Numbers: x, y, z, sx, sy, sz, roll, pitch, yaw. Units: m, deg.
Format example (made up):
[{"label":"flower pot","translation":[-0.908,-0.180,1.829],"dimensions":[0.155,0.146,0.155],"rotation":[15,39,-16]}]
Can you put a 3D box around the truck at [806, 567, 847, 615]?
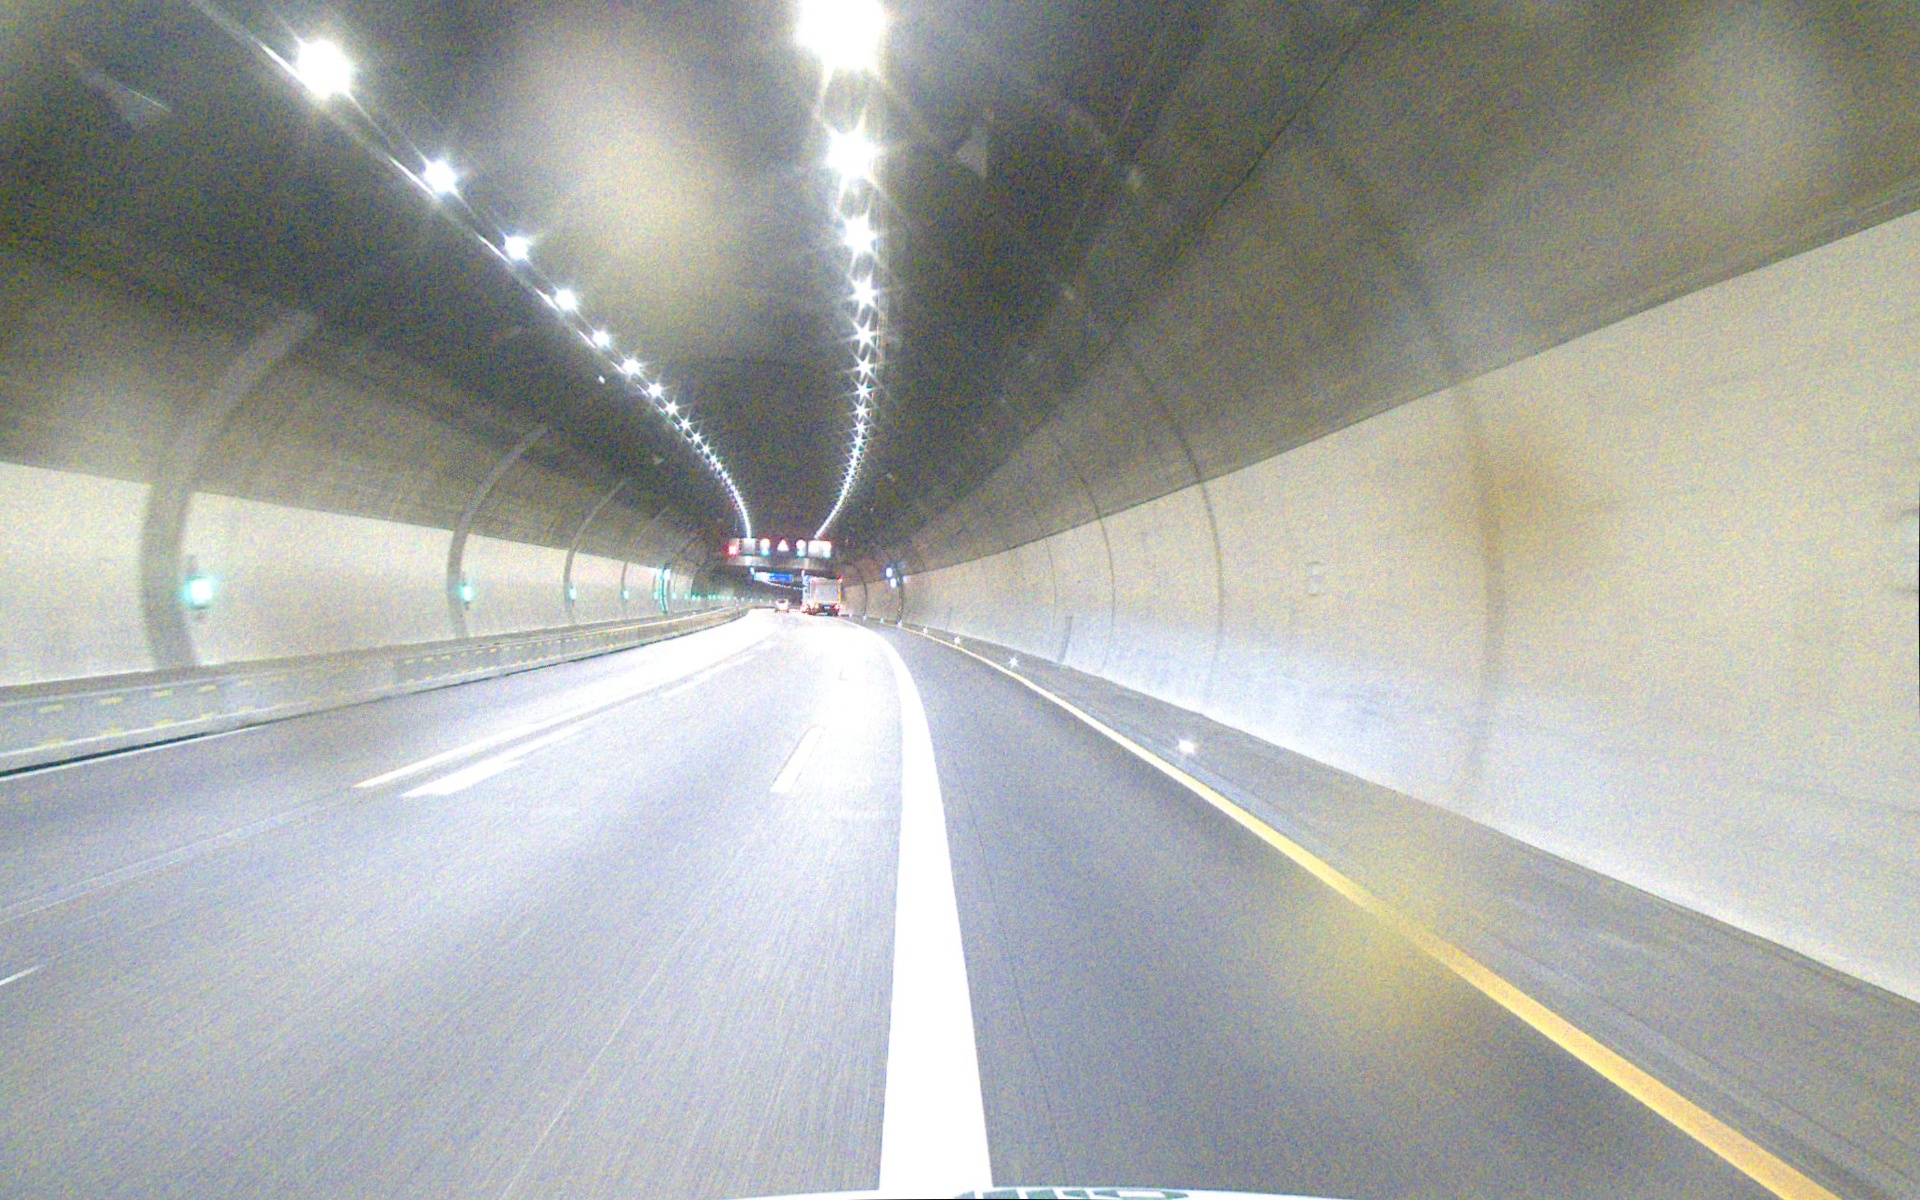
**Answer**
[{"label":"truck","translation":[-12.978,-0.875,159.510],"dimensions":[3.408,4.391,10.935],"rotation":[2,0,-7]}]

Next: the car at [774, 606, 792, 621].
[{"label":"car","translation":[-21.109,1.596,197.077],"dimensions":[1.956,1.609,3.993],"rotation":[2,0,-8]}]

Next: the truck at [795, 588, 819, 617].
[{"label":"truck","translation":[-23.868,0.374,257.514],"dimensions":[3.408,4.392,10.935],"rotation":[1,0,-7]}]

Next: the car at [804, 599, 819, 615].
[{"label":"car","translation":[-19.568,0.890,218.408],"dimensions":[1.955,2.049,3.996],"rotation":[1,0,-5]}]
